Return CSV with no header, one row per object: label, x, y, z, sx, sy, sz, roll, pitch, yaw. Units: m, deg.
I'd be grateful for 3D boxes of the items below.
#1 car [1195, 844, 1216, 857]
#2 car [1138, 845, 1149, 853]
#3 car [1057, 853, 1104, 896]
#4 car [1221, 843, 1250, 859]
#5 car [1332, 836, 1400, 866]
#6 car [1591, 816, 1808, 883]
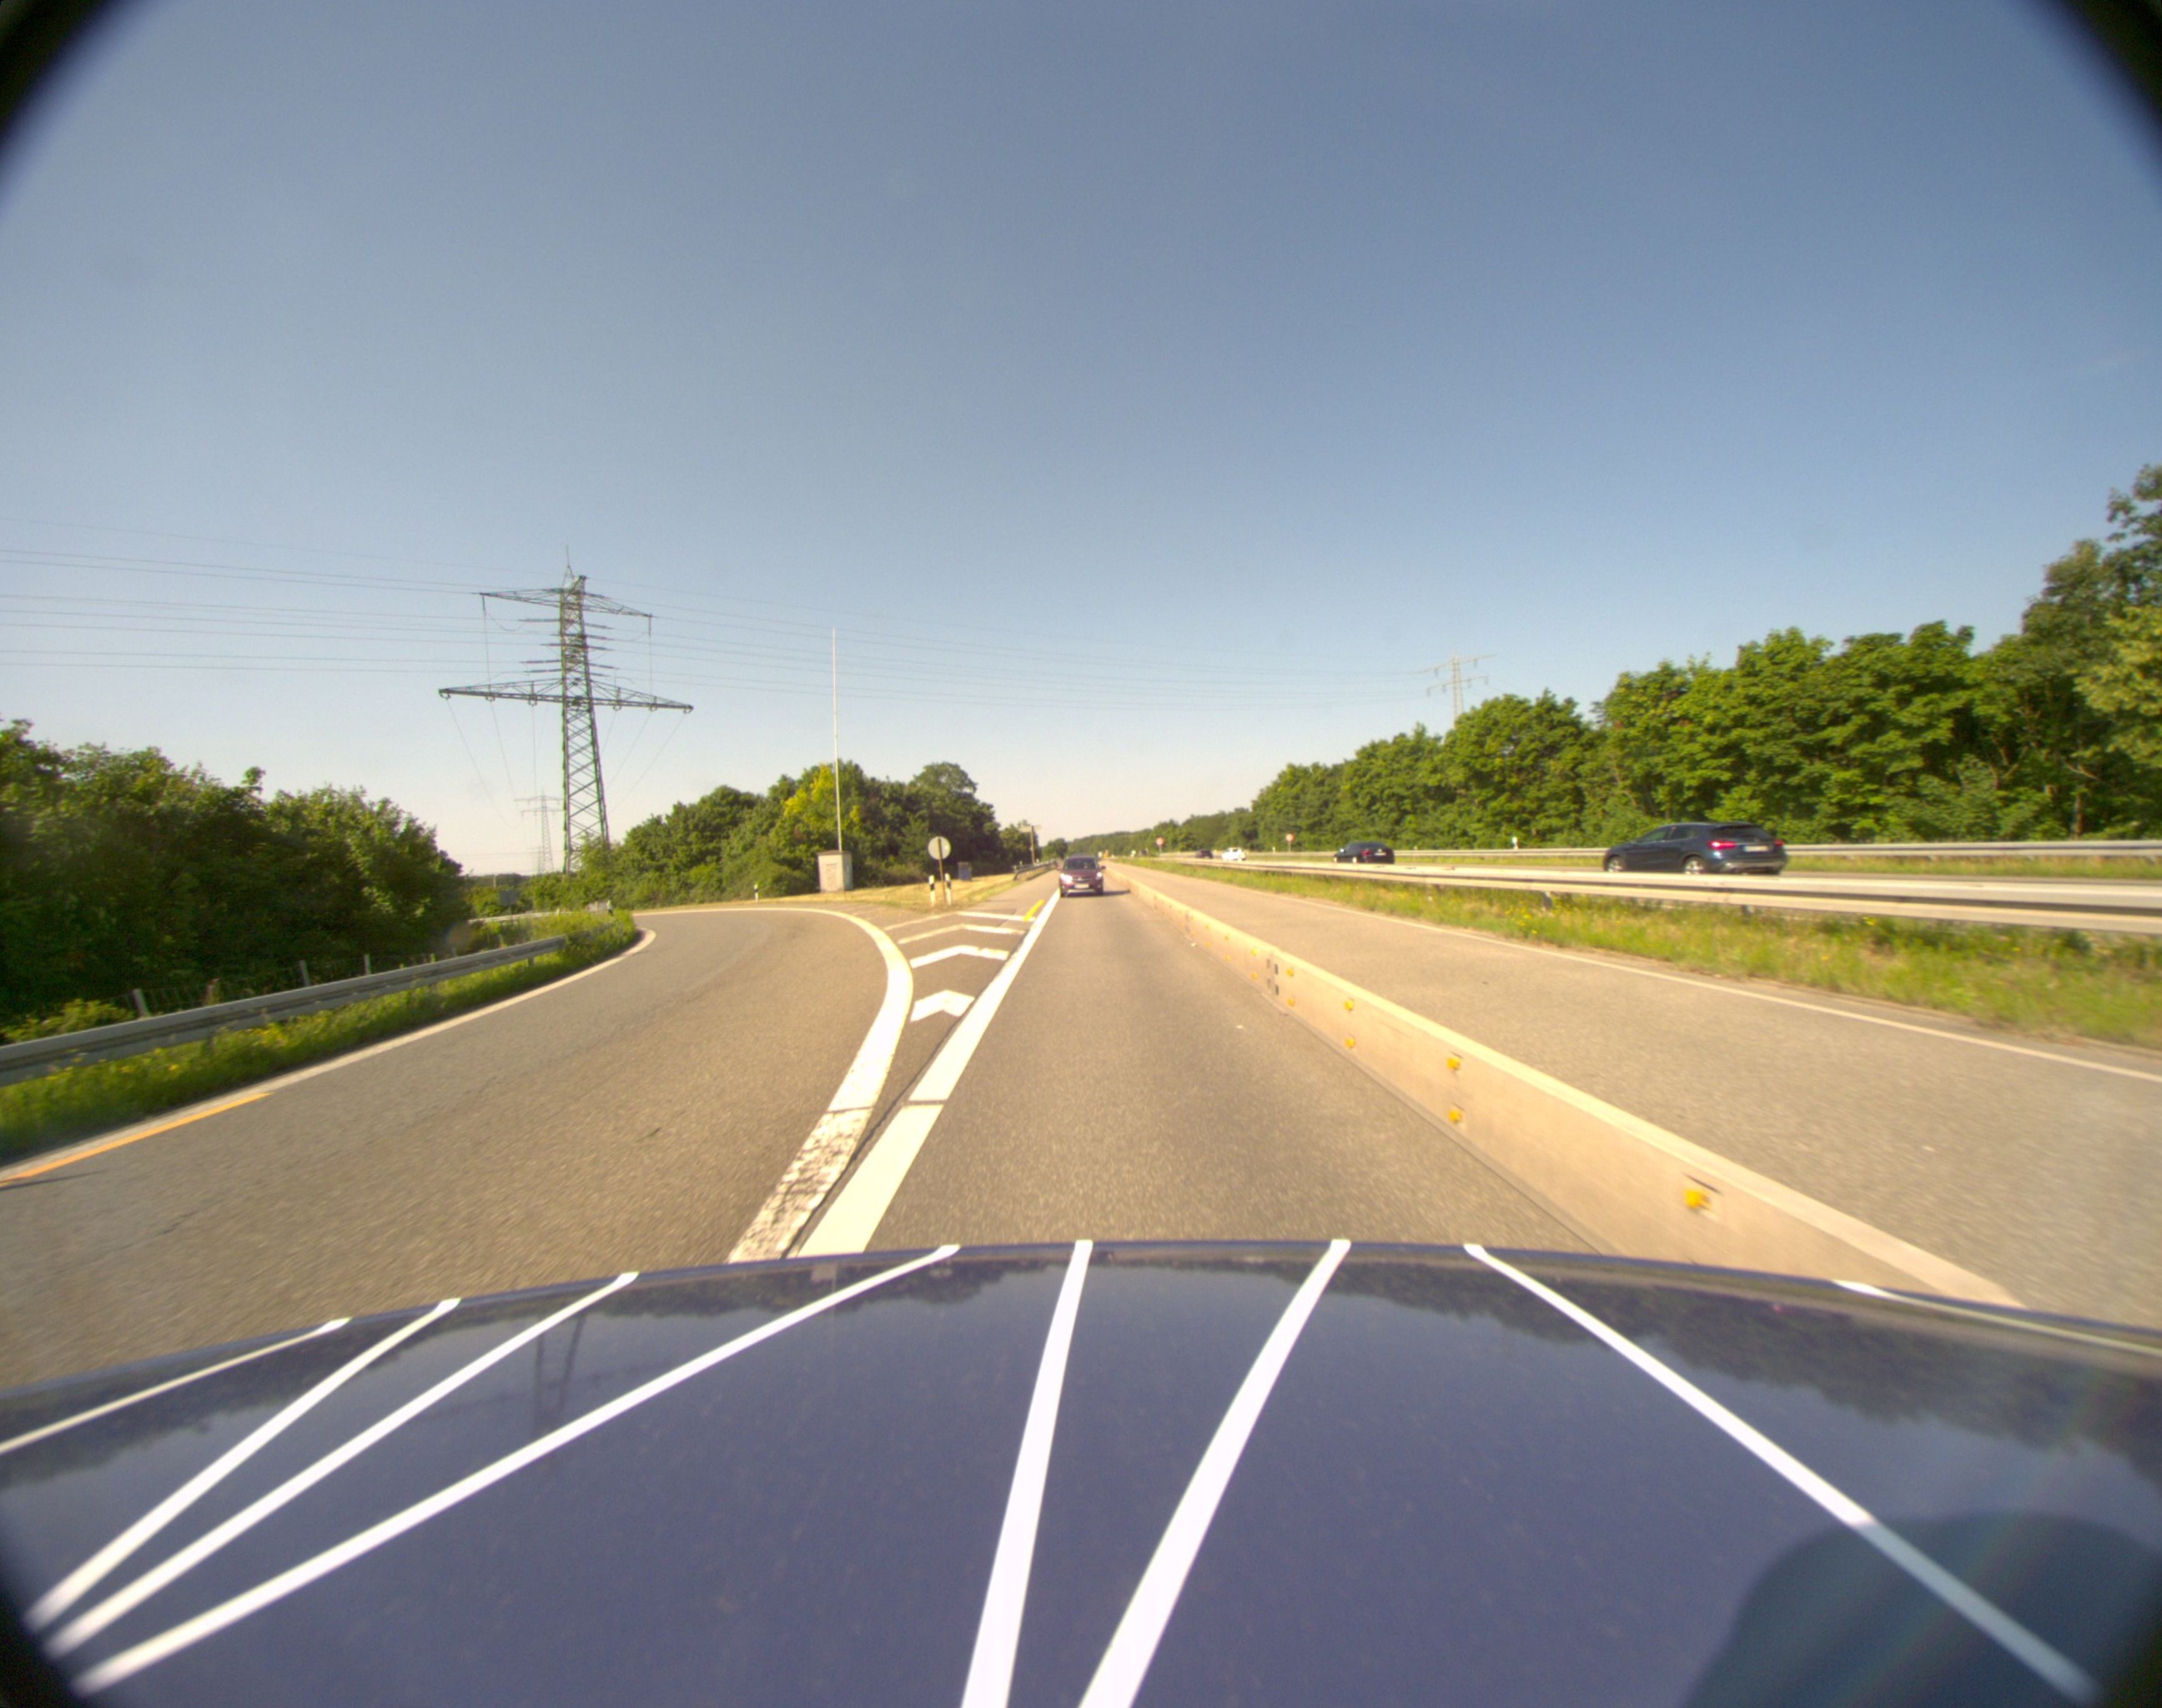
car,15.314,-0.435,93.690,1.743,1.485,4.109,-3,0,0
car,15.526,-1.269,188.505,1.999,2.023,5.167,-3,0,-2
car,0.049,0.748,29.210,1.587,1.491,4.416,-2,0,2
car,15.457,-0.303,76.266,1.764,1.462,4.794,-4,0,0
car,14.889,-0.167,40.001,1.820,1.479,5.023,-1,0,1
car,15.498,-0.112,19.433,1.801,1.426,4.592,-3,0,1
